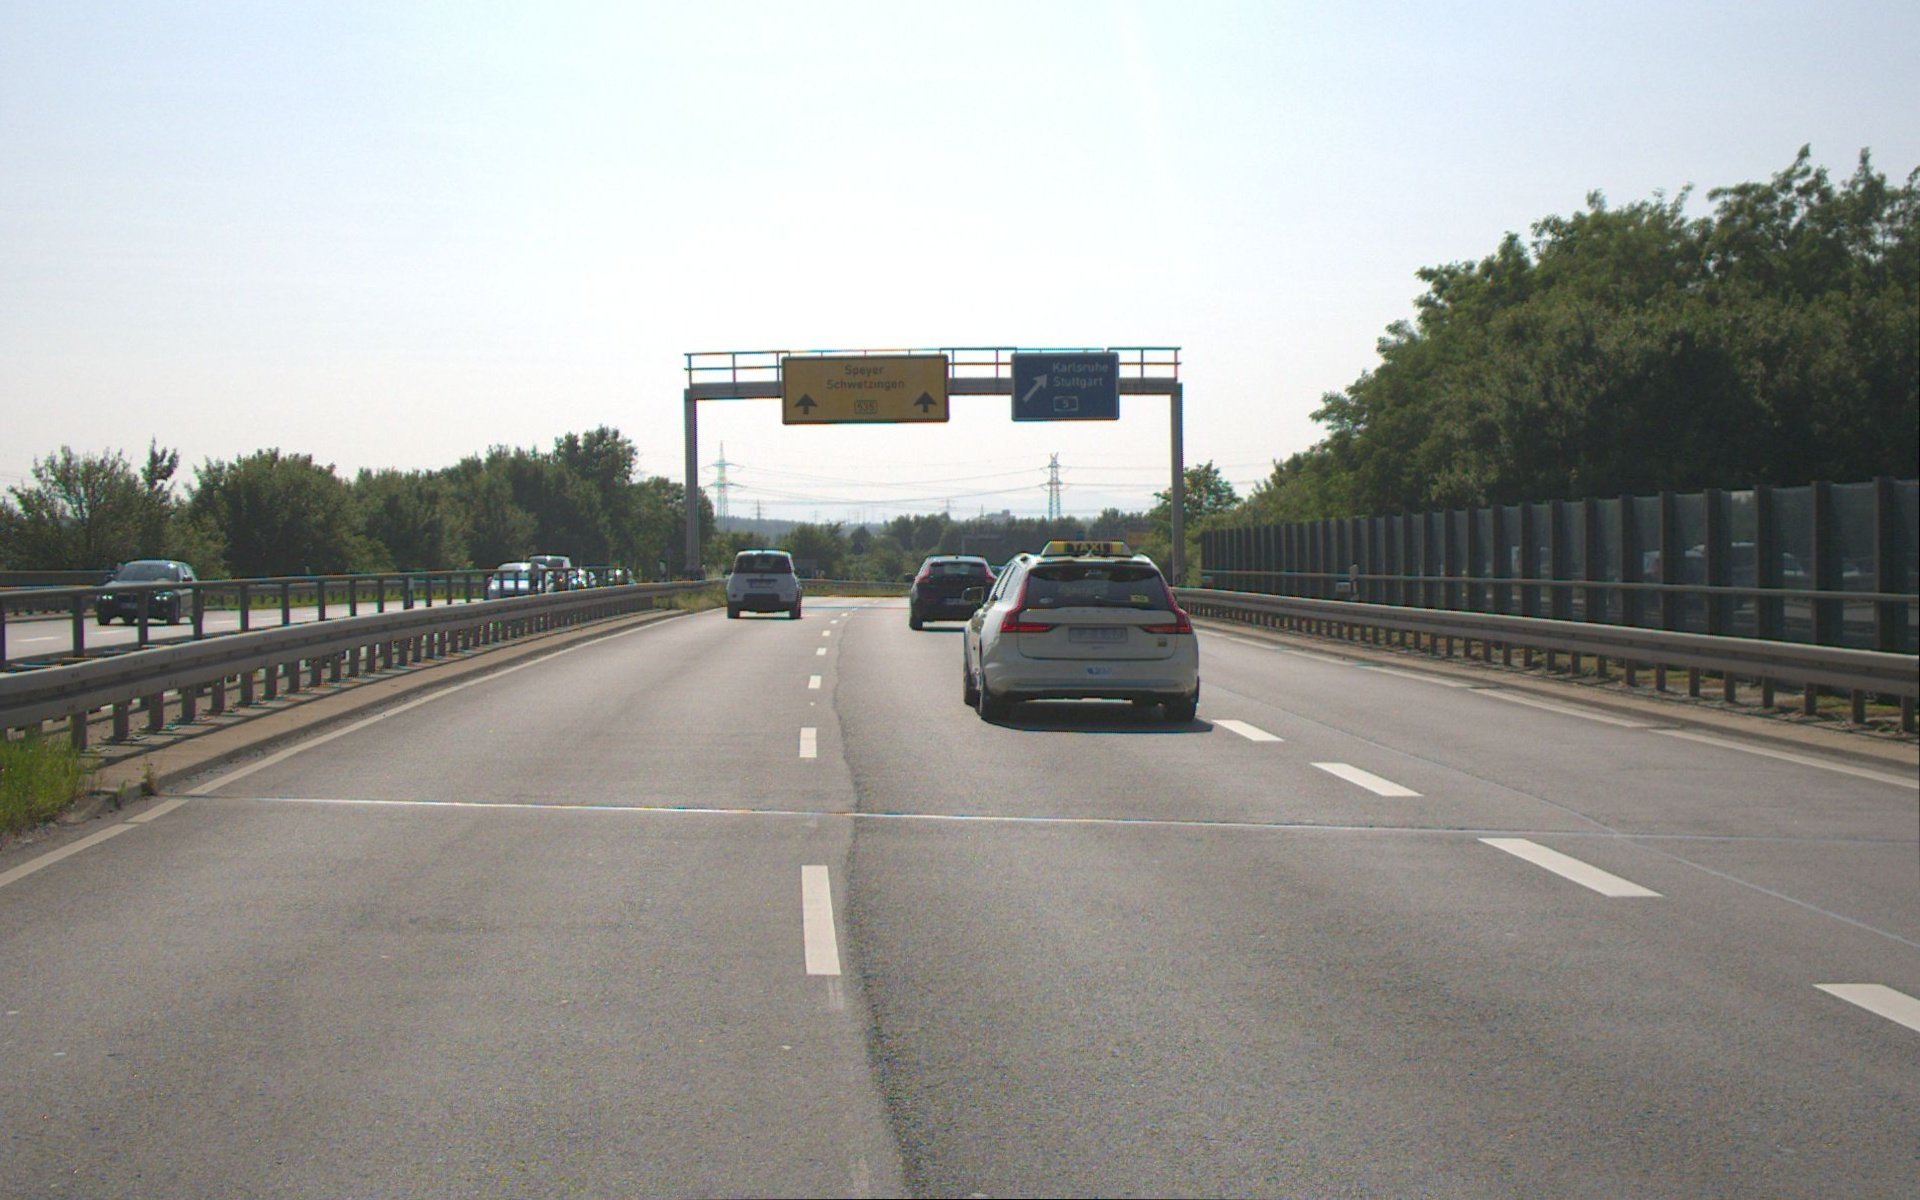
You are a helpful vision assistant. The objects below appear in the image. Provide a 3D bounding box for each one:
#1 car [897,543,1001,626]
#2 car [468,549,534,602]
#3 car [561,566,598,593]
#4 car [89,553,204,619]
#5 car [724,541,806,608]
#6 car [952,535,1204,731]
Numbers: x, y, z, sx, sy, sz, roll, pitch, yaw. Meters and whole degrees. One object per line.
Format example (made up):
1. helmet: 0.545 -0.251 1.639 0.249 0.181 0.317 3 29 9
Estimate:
1. car: -0.241 -0.297 66.903 1.793 1.538 3.672 1 0 -4
2. car: -12.861 -0.704 96.450 1.551 1.412 3.669 1 1 -4
3. car: -18.827 -1.011 170.009 1.566 1.265 3.716 0 1 -2
4. car: -18.257 -0.340 77.295 1.779 1.379 4.001 1 1 -2
5. car: -4.447 -0.574 78.864 1.793 1.498 4.043 0 0 -2
6. car: 0.984 0.238 30.801 1.958 1.596 4.107 1 1 -2
